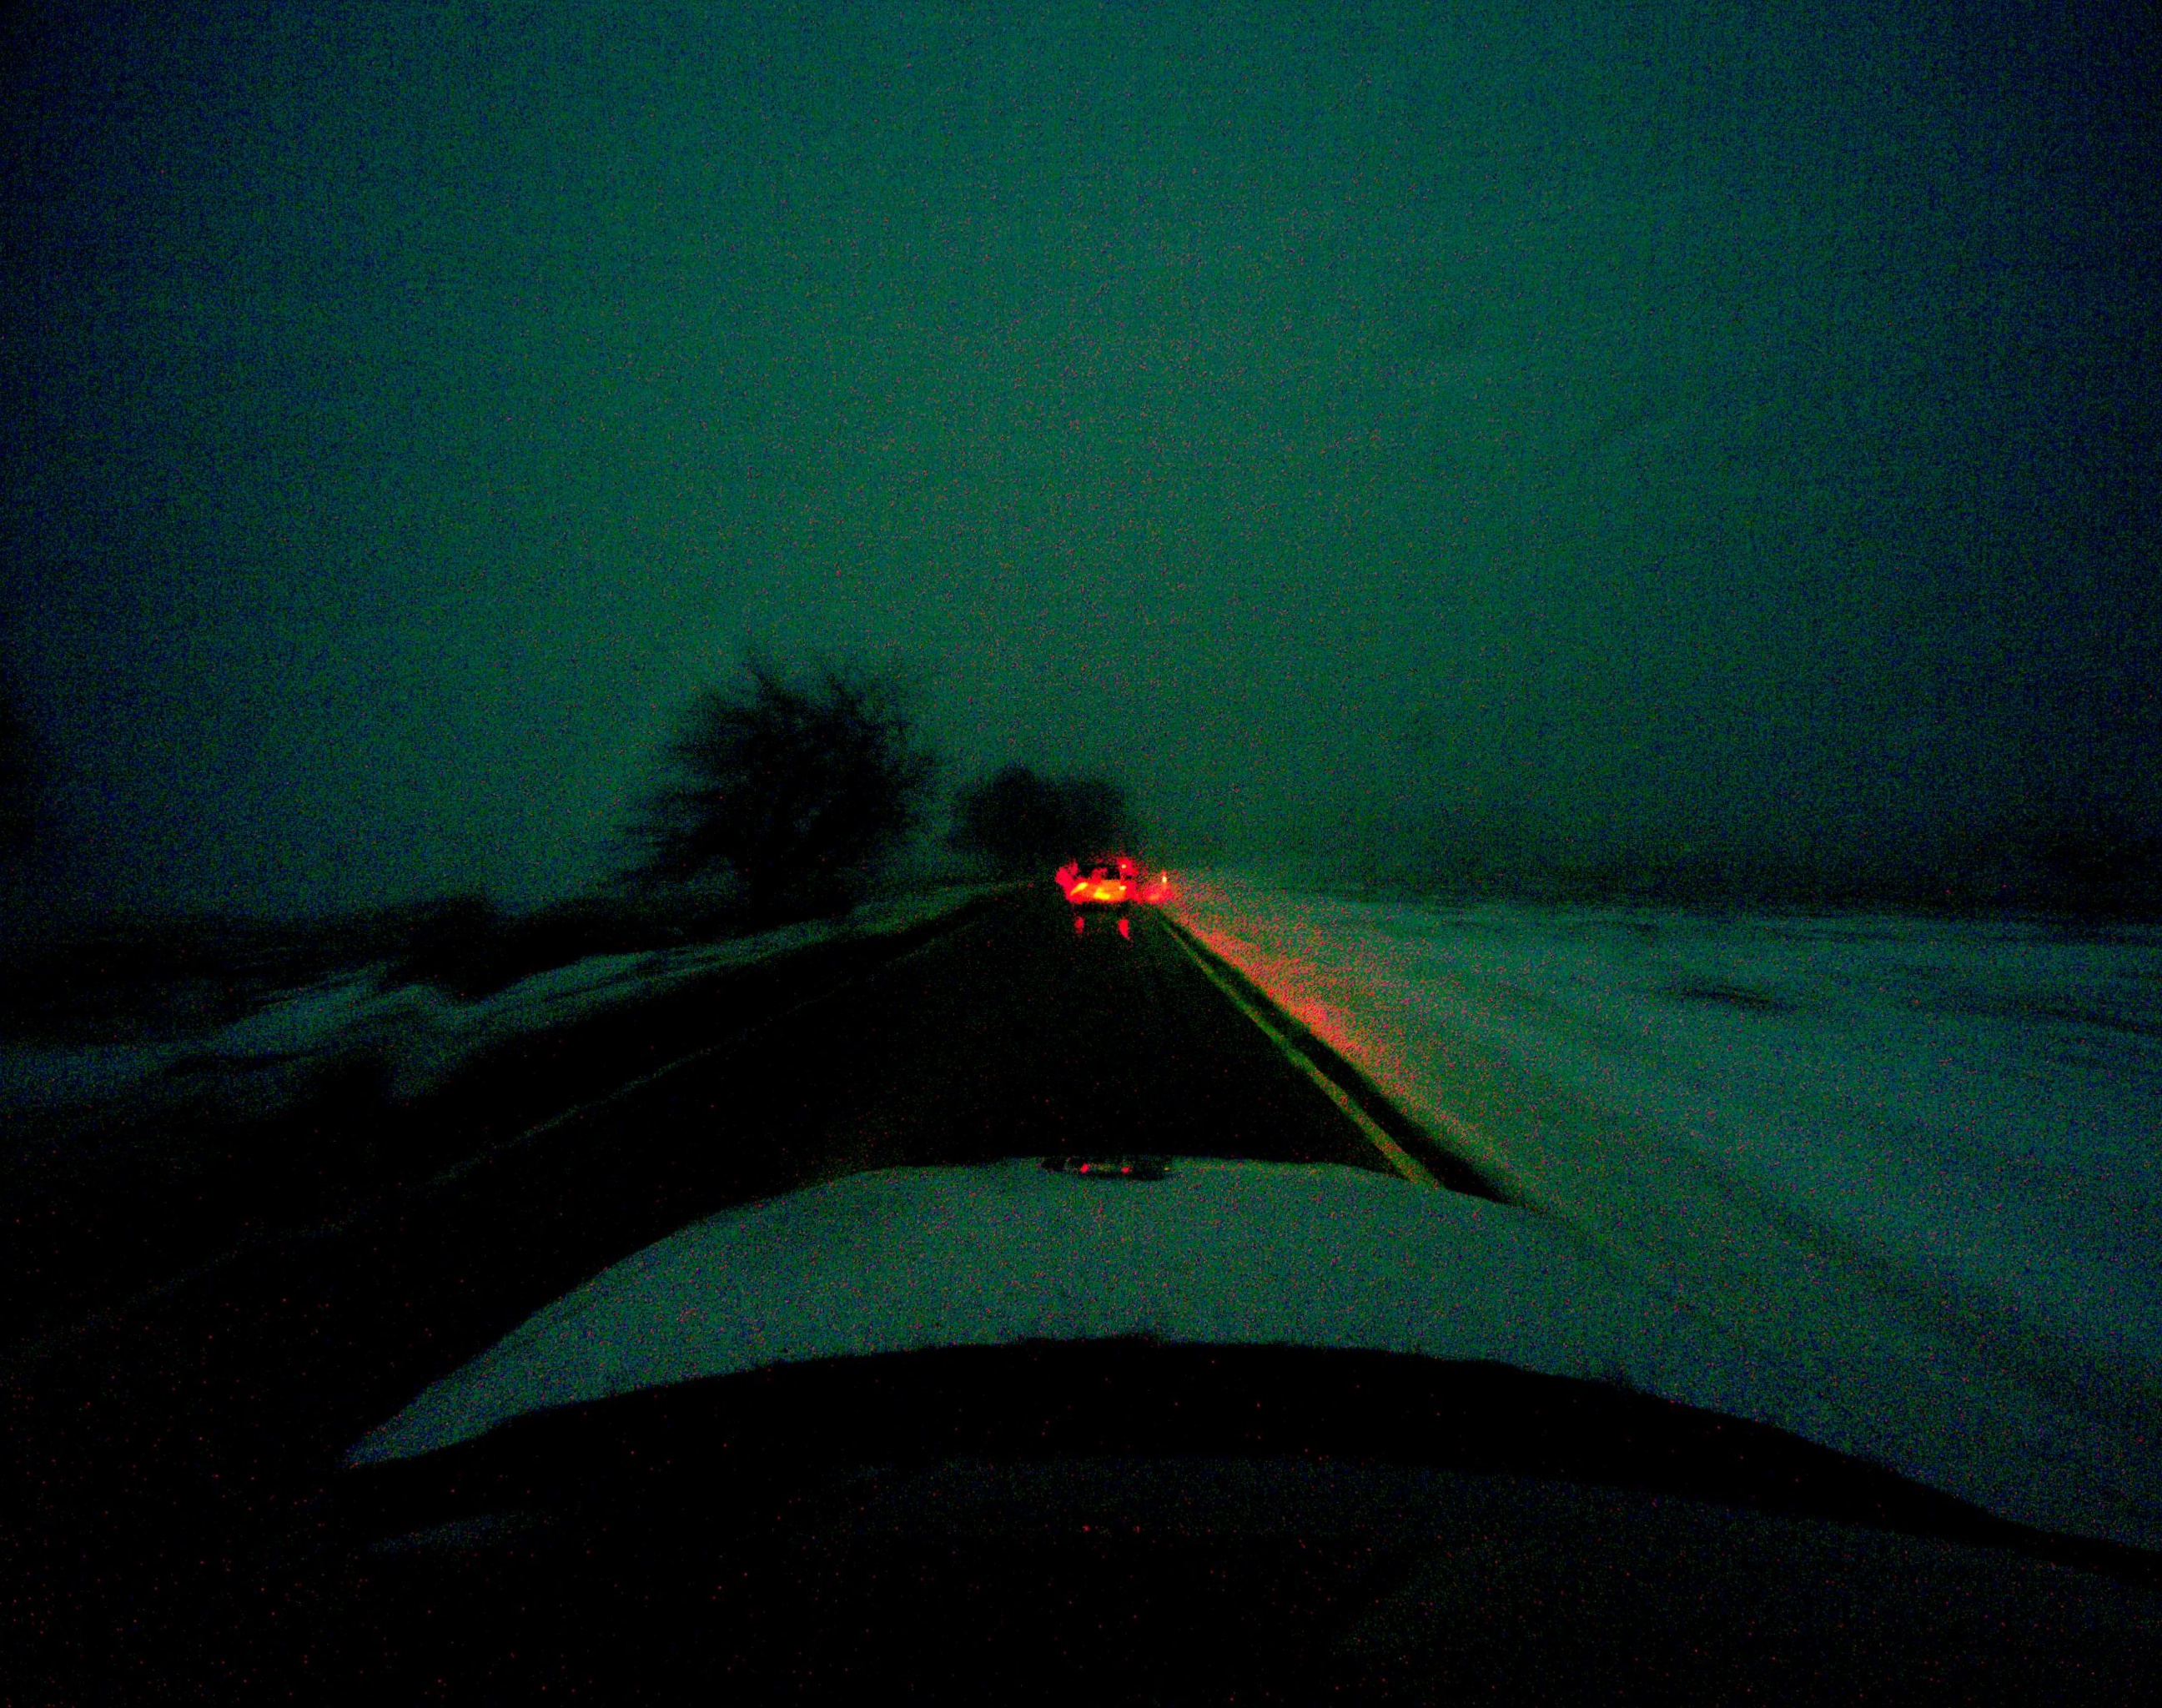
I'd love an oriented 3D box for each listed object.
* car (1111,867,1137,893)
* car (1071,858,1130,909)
[{"bbox_3d":[2.583,1.538,49.121,1.472,1.508,3.055,-1,-1,3],"label":"car"},{"bbox_3d":[0.687,0.880,25.793,1.699,1.463,4.004,1,0,4],"label":"car"}]
